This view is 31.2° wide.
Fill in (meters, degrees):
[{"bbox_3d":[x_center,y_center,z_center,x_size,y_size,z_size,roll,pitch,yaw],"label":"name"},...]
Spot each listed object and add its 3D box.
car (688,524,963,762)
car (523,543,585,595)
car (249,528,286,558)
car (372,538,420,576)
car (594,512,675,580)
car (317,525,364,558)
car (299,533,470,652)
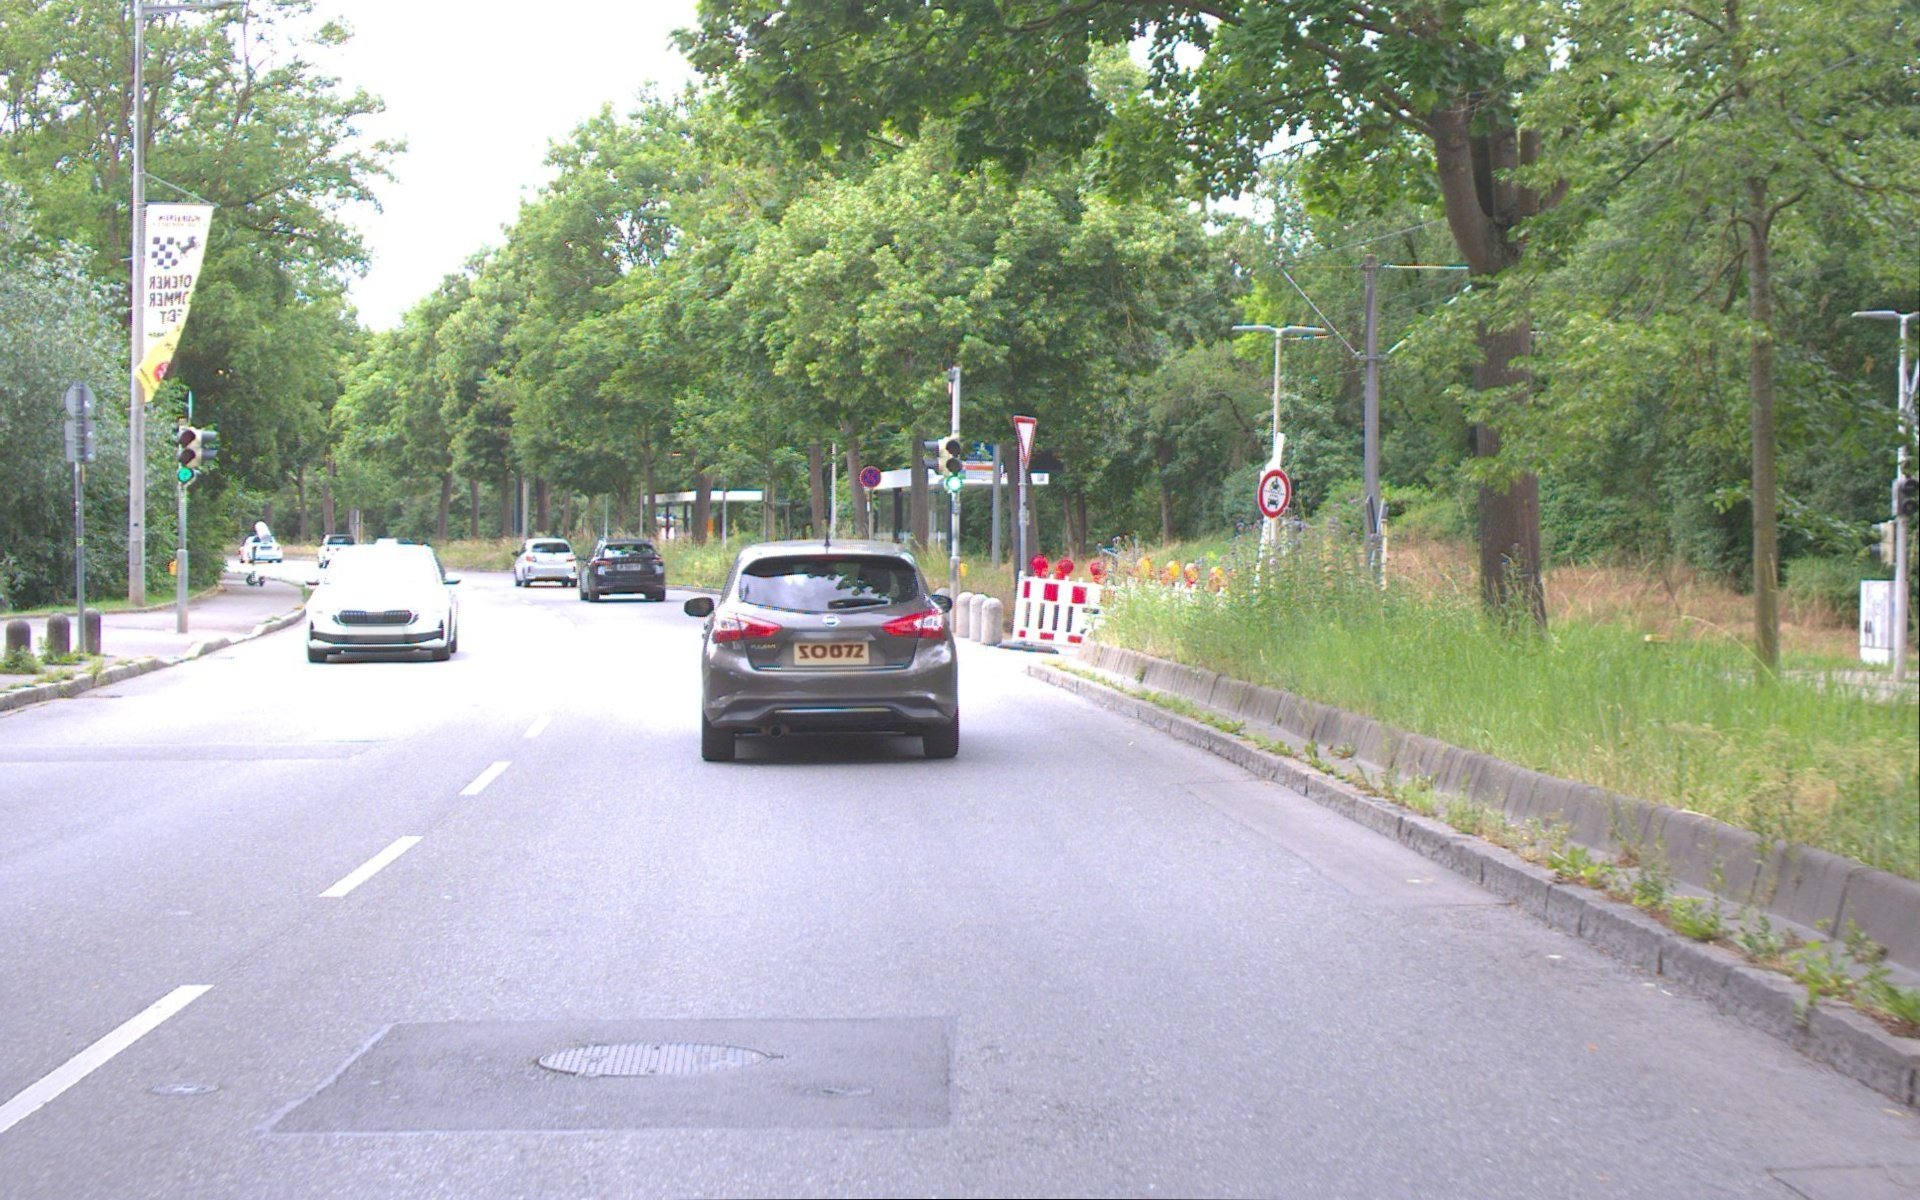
[{"bbox_3d":[-1.019,0.241,24.757,1.816,1.503,4.001,0,2,-4],"label":"car"},{"bbox_3d":[-12.444,-0.952,105.206,1.775,1.467,4.001,2,1,-8],"label":"car"},{"bbox_3d":[-36.215,-3.006,179.732,1.775,1.467,4.001,2,1,-13],"label":"car"},{"bbox_3d":[-23.368,-1.800,142.516,1.775,1.467,4.001,3,1,-8],"label":"car"},{"bbox_3d":[-7.600,-1.271,80.220,1.775,1.467,4.001,2,1,-6],"label":"car"},{"bbox_3d":[-28.744,-2.725,159.412,1.775,1.467,4.002,1,2,-15],"label":"car"},{"bbox_3d":[-7.397,-0.133,44.517,1.773,1.434,4.362,-1,1,-4],"label":"car"}]
